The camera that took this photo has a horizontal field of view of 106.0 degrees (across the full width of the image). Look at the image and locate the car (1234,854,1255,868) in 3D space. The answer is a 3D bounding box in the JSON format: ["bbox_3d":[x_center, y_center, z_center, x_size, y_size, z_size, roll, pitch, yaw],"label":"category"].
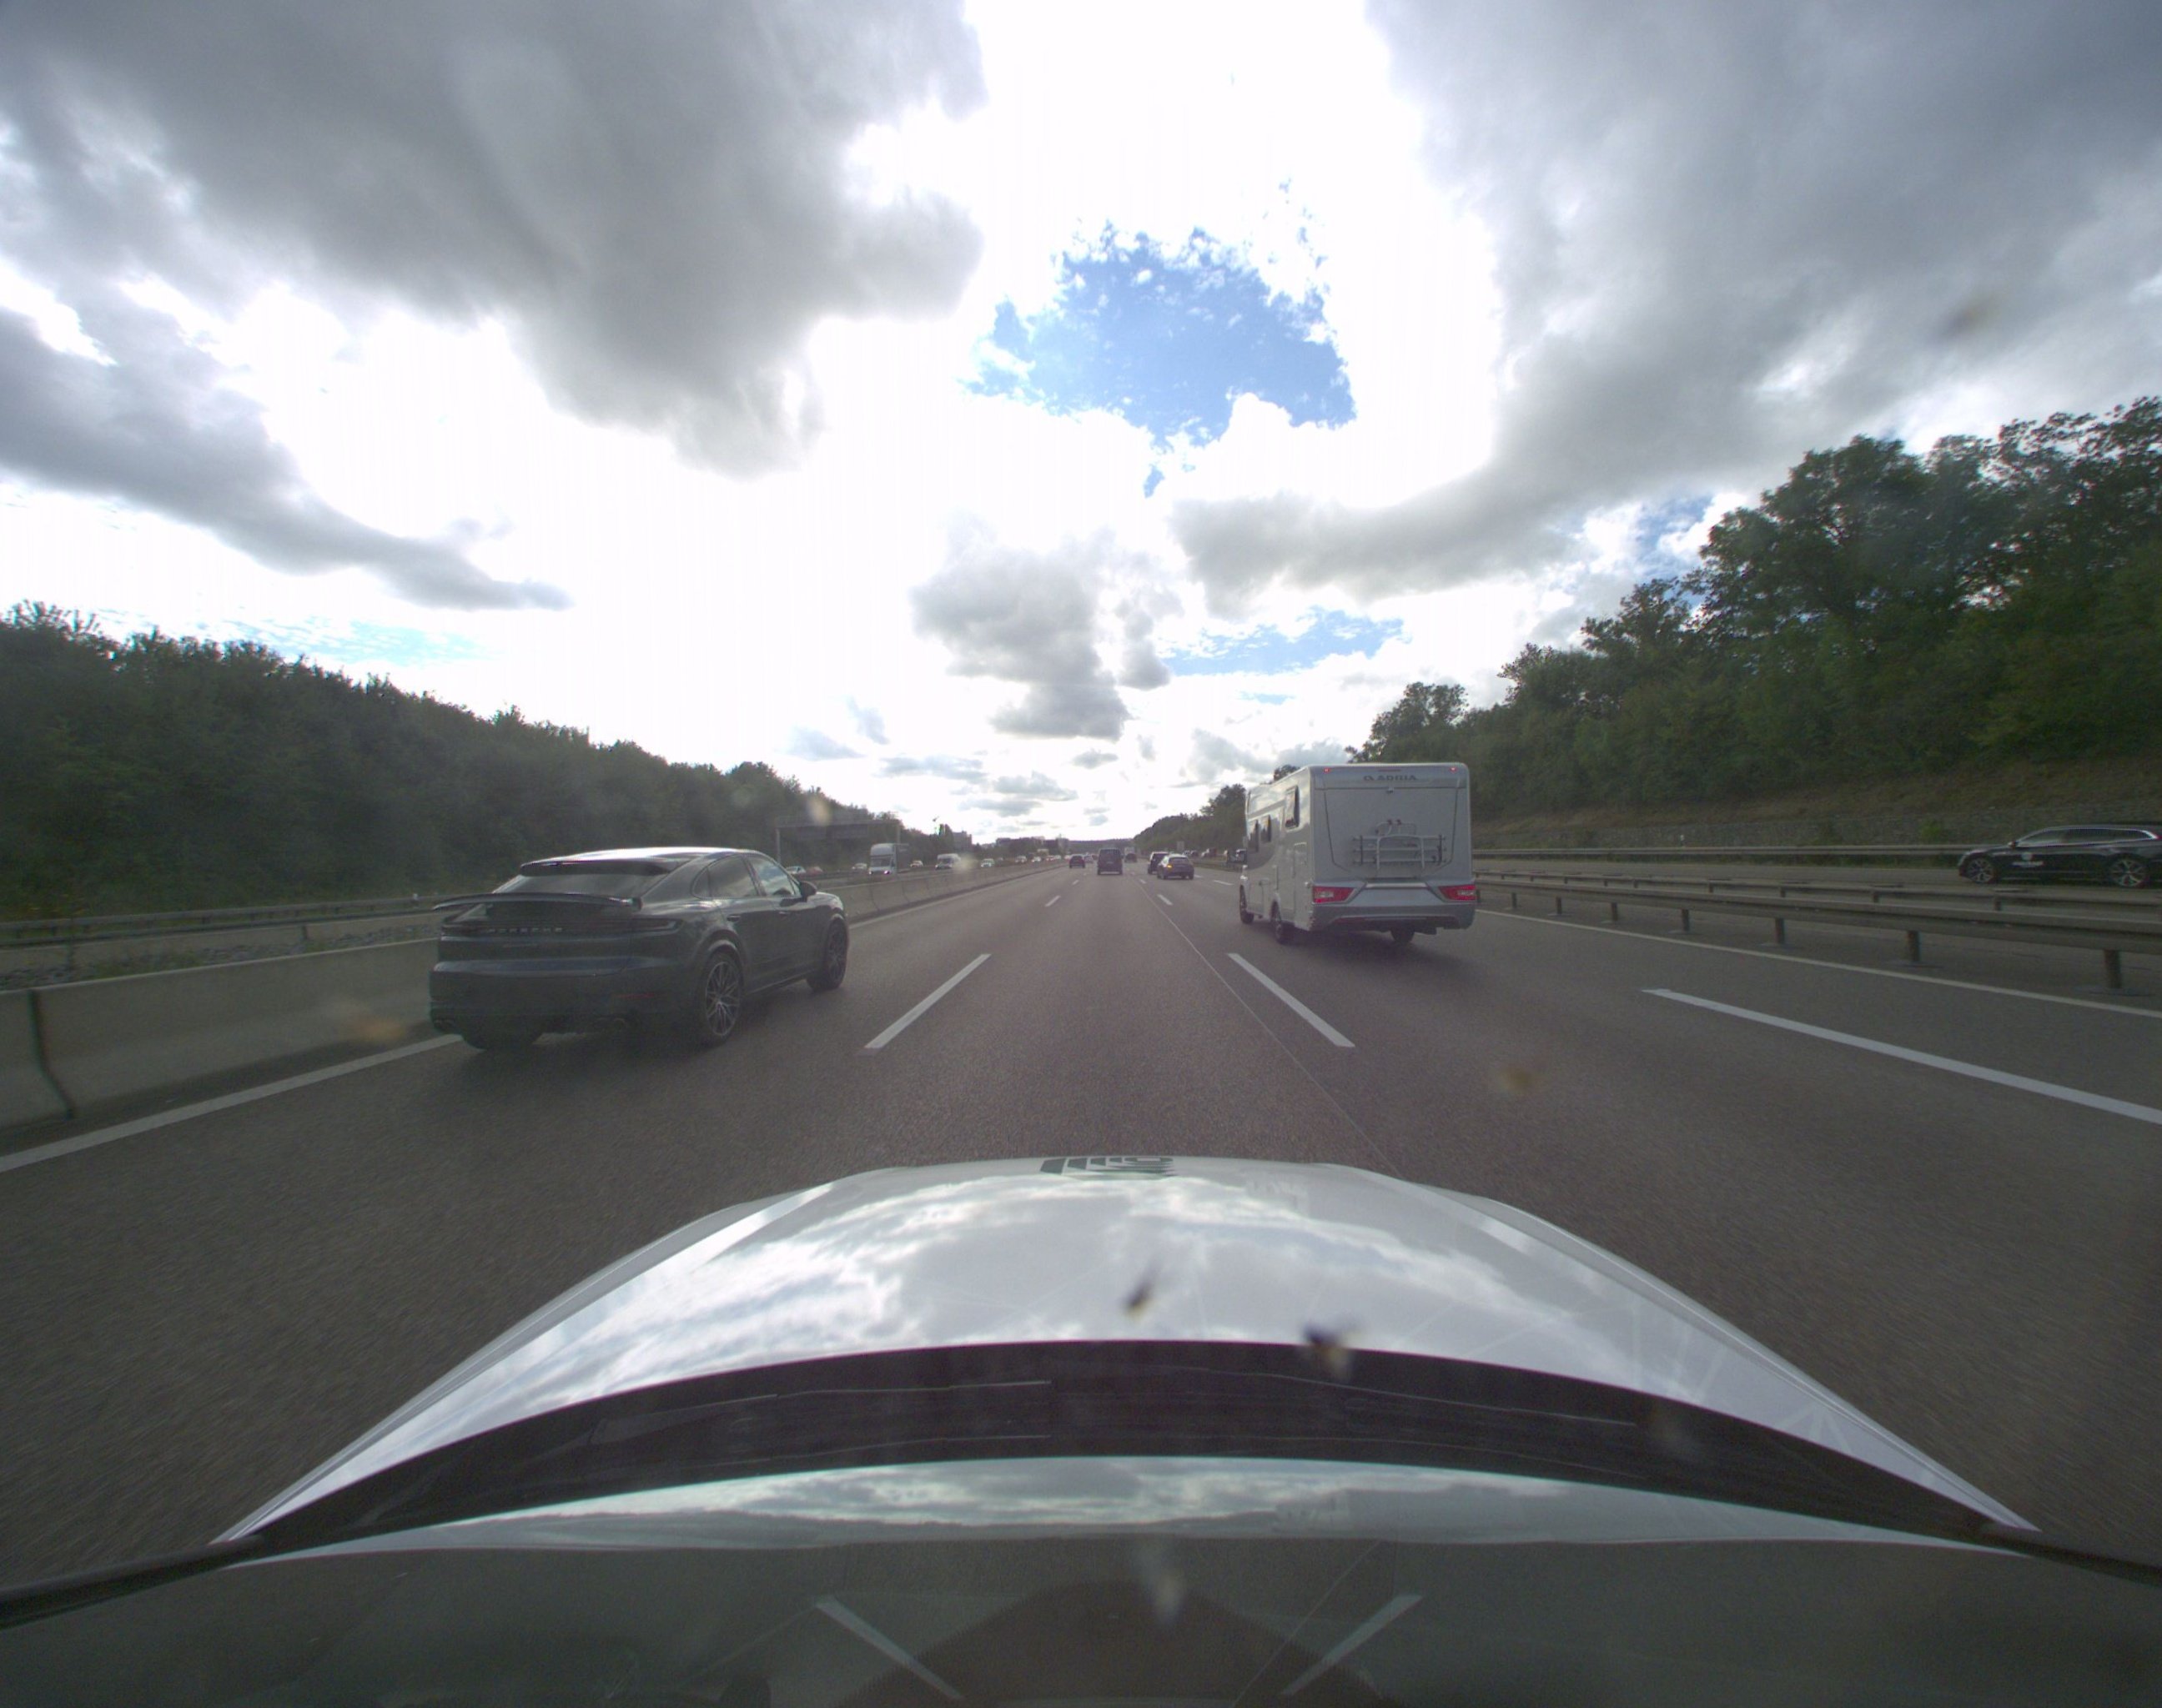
[{"bbox_3d":[20.805,0.907,103.714,1.840,1.650,4.308,-4,0,2],"label":"car"}]

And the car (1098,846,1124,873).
[{"bbox_3d":[2.241,0.405,61.106,1.848,1.910,4.261,-1,0,2],"label":"car"}]

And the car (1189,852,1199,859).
[{"bbox_3d":[26.983,0.340,194.453,1.745,1.695,4.192,-1,0,2],"label":"car"}]

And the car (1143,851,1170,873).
[{"bbox_3d":[5.655,0.603,61.134,1.691,1.564,4.114,-2,0,1],"label":"car"}]

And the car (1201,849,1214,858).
[{"bbox_3d":[21.793,-0.077,140.203,1.590,1.546,4.190,-1,0,0],"label":"car"}]

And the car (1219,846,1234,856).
[{"bbox_3d":[25.180,-0.472,140.894,1.723,1.546,4.305,-4,0,0],"label":"car"}]

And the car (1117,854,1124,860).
[{"bbox_3d":[10.717,0.787,222.851,1.745,1.695,4.192,-1,0,2],"label":"car"}]

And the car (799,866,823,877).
[{"bbox_3d":[-33.810,2.188,102.199,1.558,1.365,4.052,-2,0,1],"label":"car"}]

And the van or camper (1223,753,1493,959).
[{"bbox_3d":[4.379,0.029,14.736,2.459,2.722,7.664,-1,0,2],"label":"van or camper"}]

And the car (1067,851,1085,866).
[{"bbox_3d":[-0.552,0.503,96.159,1.866,1.698,4.073,-2,0,2],"label":"car"}]

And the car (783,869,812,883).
[{"bbox_3d":[-30.282,2.295,86.994,1.558,1.365,4.052,-2,0,1],"label":"car"}]

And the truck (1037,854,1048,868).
[{"bbox_3d":[-11.932,2.115,251.963,2.885,4.323,5.164,-2,0,2],"label":"truck"}]

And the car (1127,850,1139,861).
[{"bbox_3d":[9.035,0.267,141.332,1.906,1.919,4.032,-1,0,2],"label":"car"}]

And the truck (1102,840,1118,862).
[{"bbox_3d":[6.091,-0.642,170.357,3.251,4.375,11.030,-1,0,2],"label":"truck"}]

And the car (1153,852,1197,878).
[{"bbox_3d":[5.590,0.627,48.872,1.718,1.479,4.383,-1,0,-5],"label":"car"}]

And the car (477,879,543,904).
[{"bbox_3d":[-39.878,2.591,57.022,1.586,1.494,4.181,-2,0,1],"label":"car"}]

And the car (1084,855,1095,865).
[{"bbox_3d":[1.408,0.980,136.043,1.691,1.611,4.114,-2,0,1],"label":"car"}]

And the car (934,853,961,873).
[{"bbox_3d":[-16.728,1.101,102.523,2.156,2.271,6.462,-2,0,1],"label":"car"}]

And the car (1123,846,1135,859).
[{"bbox_3d":[8.728,-0.263,148.228,1.866,2.357,4.283,-1,0,2],"label":"car"}]

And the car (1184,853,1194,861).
[{"bbox_3d":[23.294,0.578,175.503,1.745,1.695,4.192,-1,0,2],"label":"car"}]

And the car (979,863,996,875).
[{"bbox_3d":[-12.775,2.039,111.524,1.731,1.511,4.052,-2,0,1],"label":"car"}]

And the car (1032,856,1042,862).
[{"bbox_3d":[-9.884,1.033,181.880,1.764,1.294,4.677,-1,0,1],"label":"car"}]

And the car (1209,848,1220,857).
[{"bbox_3d":[26.874,-0.279,163.920,1.590,1.804,3.825,-1,0,0],"label":"car"}]

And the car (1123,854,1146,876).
[{"bbox_3d":[4.323,0.893,66.697,1.714,1.724,4.393,-1,0,2],"label":"car"}]

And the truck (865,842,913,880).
[{"bbox_3d":[-17.666,0.634,75.407,2.345,3.263,7.828,-2,0,1],"label":"truck"}]

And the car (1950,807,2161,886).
[{"bbox_3d":[23.404,-0.190,18.679,1.837,1.602,4.765,-4,0,1],"label":"car"}]

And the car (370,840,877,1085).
[{"bbox_3d":[-3.830,0.743,8.327,1.905,1.636,5.502,-1,0,2],"label":"car"}]
